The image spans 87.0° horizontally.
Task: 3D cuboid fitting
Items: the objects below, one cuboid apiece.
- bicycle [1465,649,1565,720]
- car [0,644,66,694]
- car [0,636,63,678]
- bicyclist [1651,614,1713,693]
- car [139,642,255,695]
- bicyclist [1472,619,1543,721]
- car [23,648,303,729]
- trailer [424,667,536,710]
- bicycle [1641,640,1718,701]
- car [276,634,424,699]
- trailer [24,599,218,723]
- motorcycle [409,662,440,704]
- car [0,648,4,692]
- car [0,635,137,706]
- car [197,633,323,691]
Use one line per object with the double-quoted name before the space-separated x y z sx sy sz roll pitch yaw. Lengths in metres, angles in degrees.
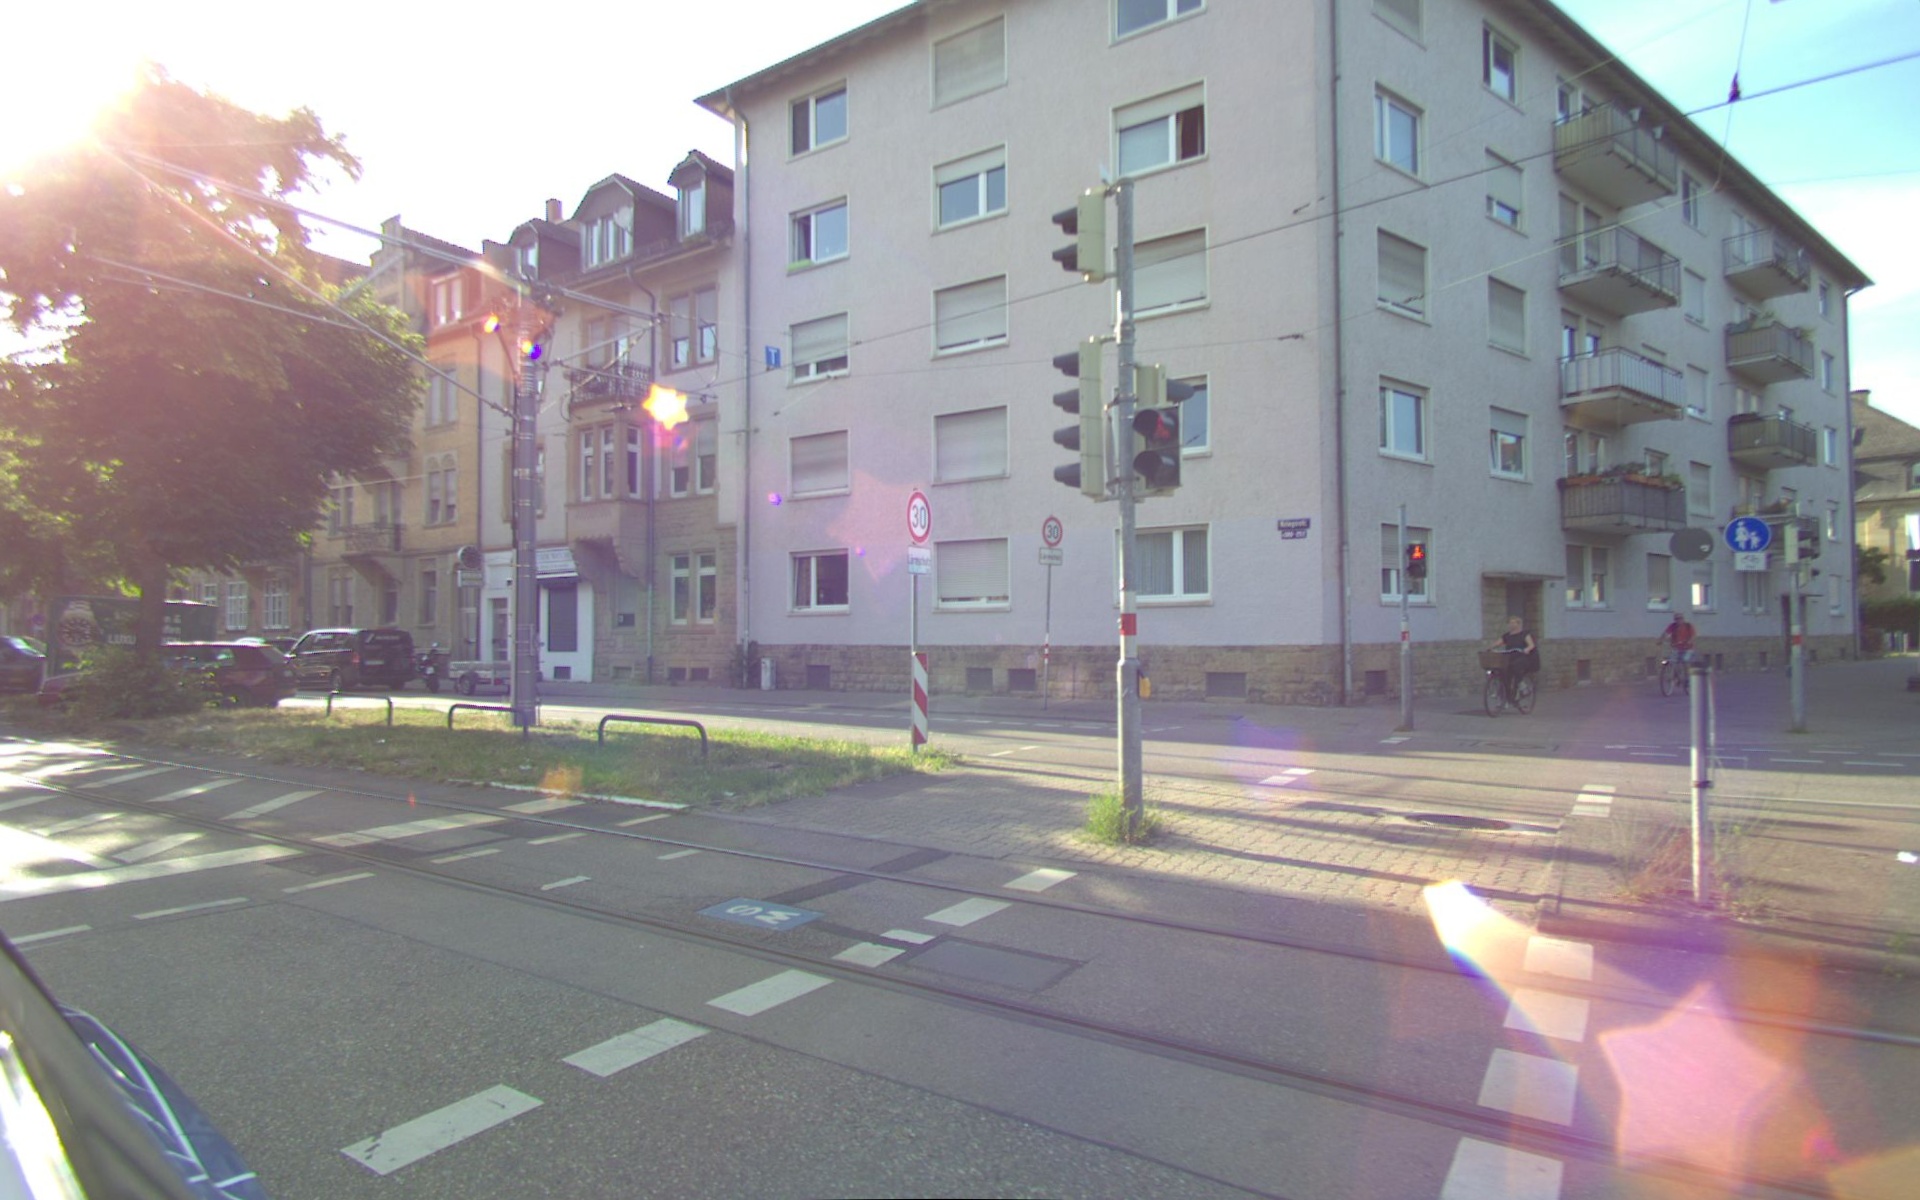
"bicycle" 9.469 1.414 17.243 1.885 1.119 0.737 1 -3 -36
"car" -29.158 2.039 29.368 4.530 1.392 1.707 -1 -2 -22
"car" -45.626 2.757 49.153 4.601 1.915 2.146 -3 -2 36
"bicyclist" 15.696 1.156 22.002 0.839 1.655 0.816 0 -2 -36
"car" -28.111 2.489 37.249 4.601 1.763 2.146 -3 -2 36
"bicyclist" 9.243 1.156 17.085 0.761 1.654 0.796 1 0 -36
"car" -15.062 1.630 19.393 3.884 1.370 1.678 0 -3 -22
"trailer" -12.949 2.356 27.259 2.872 0.903 1.429 -2 3 34
"bicycle" 15.644 1.503 22.004 1.948 1.212 0.737 0 -2 -36
"car" -18.310 1.951 30.322 4.708 1.763 2.146 -3 -2 36
"trailer" -17.644 1.244 21.446 2.816 2.410 1.728 -1 -2 -25
"motorcycle" -15.035 2.299 28.403 0.627 1.088 1.738 0 -2 -32
"car" -32.632 2.263 31.173 4.233 1.433 1.964 -1 -2 -15
"car" -24.239 1.788 25.752 4.638 1.703 2.178 0 -2 -15
"car" -23.806 2.078 34.368 4.601 1.763 2.146 -3 -2 36
